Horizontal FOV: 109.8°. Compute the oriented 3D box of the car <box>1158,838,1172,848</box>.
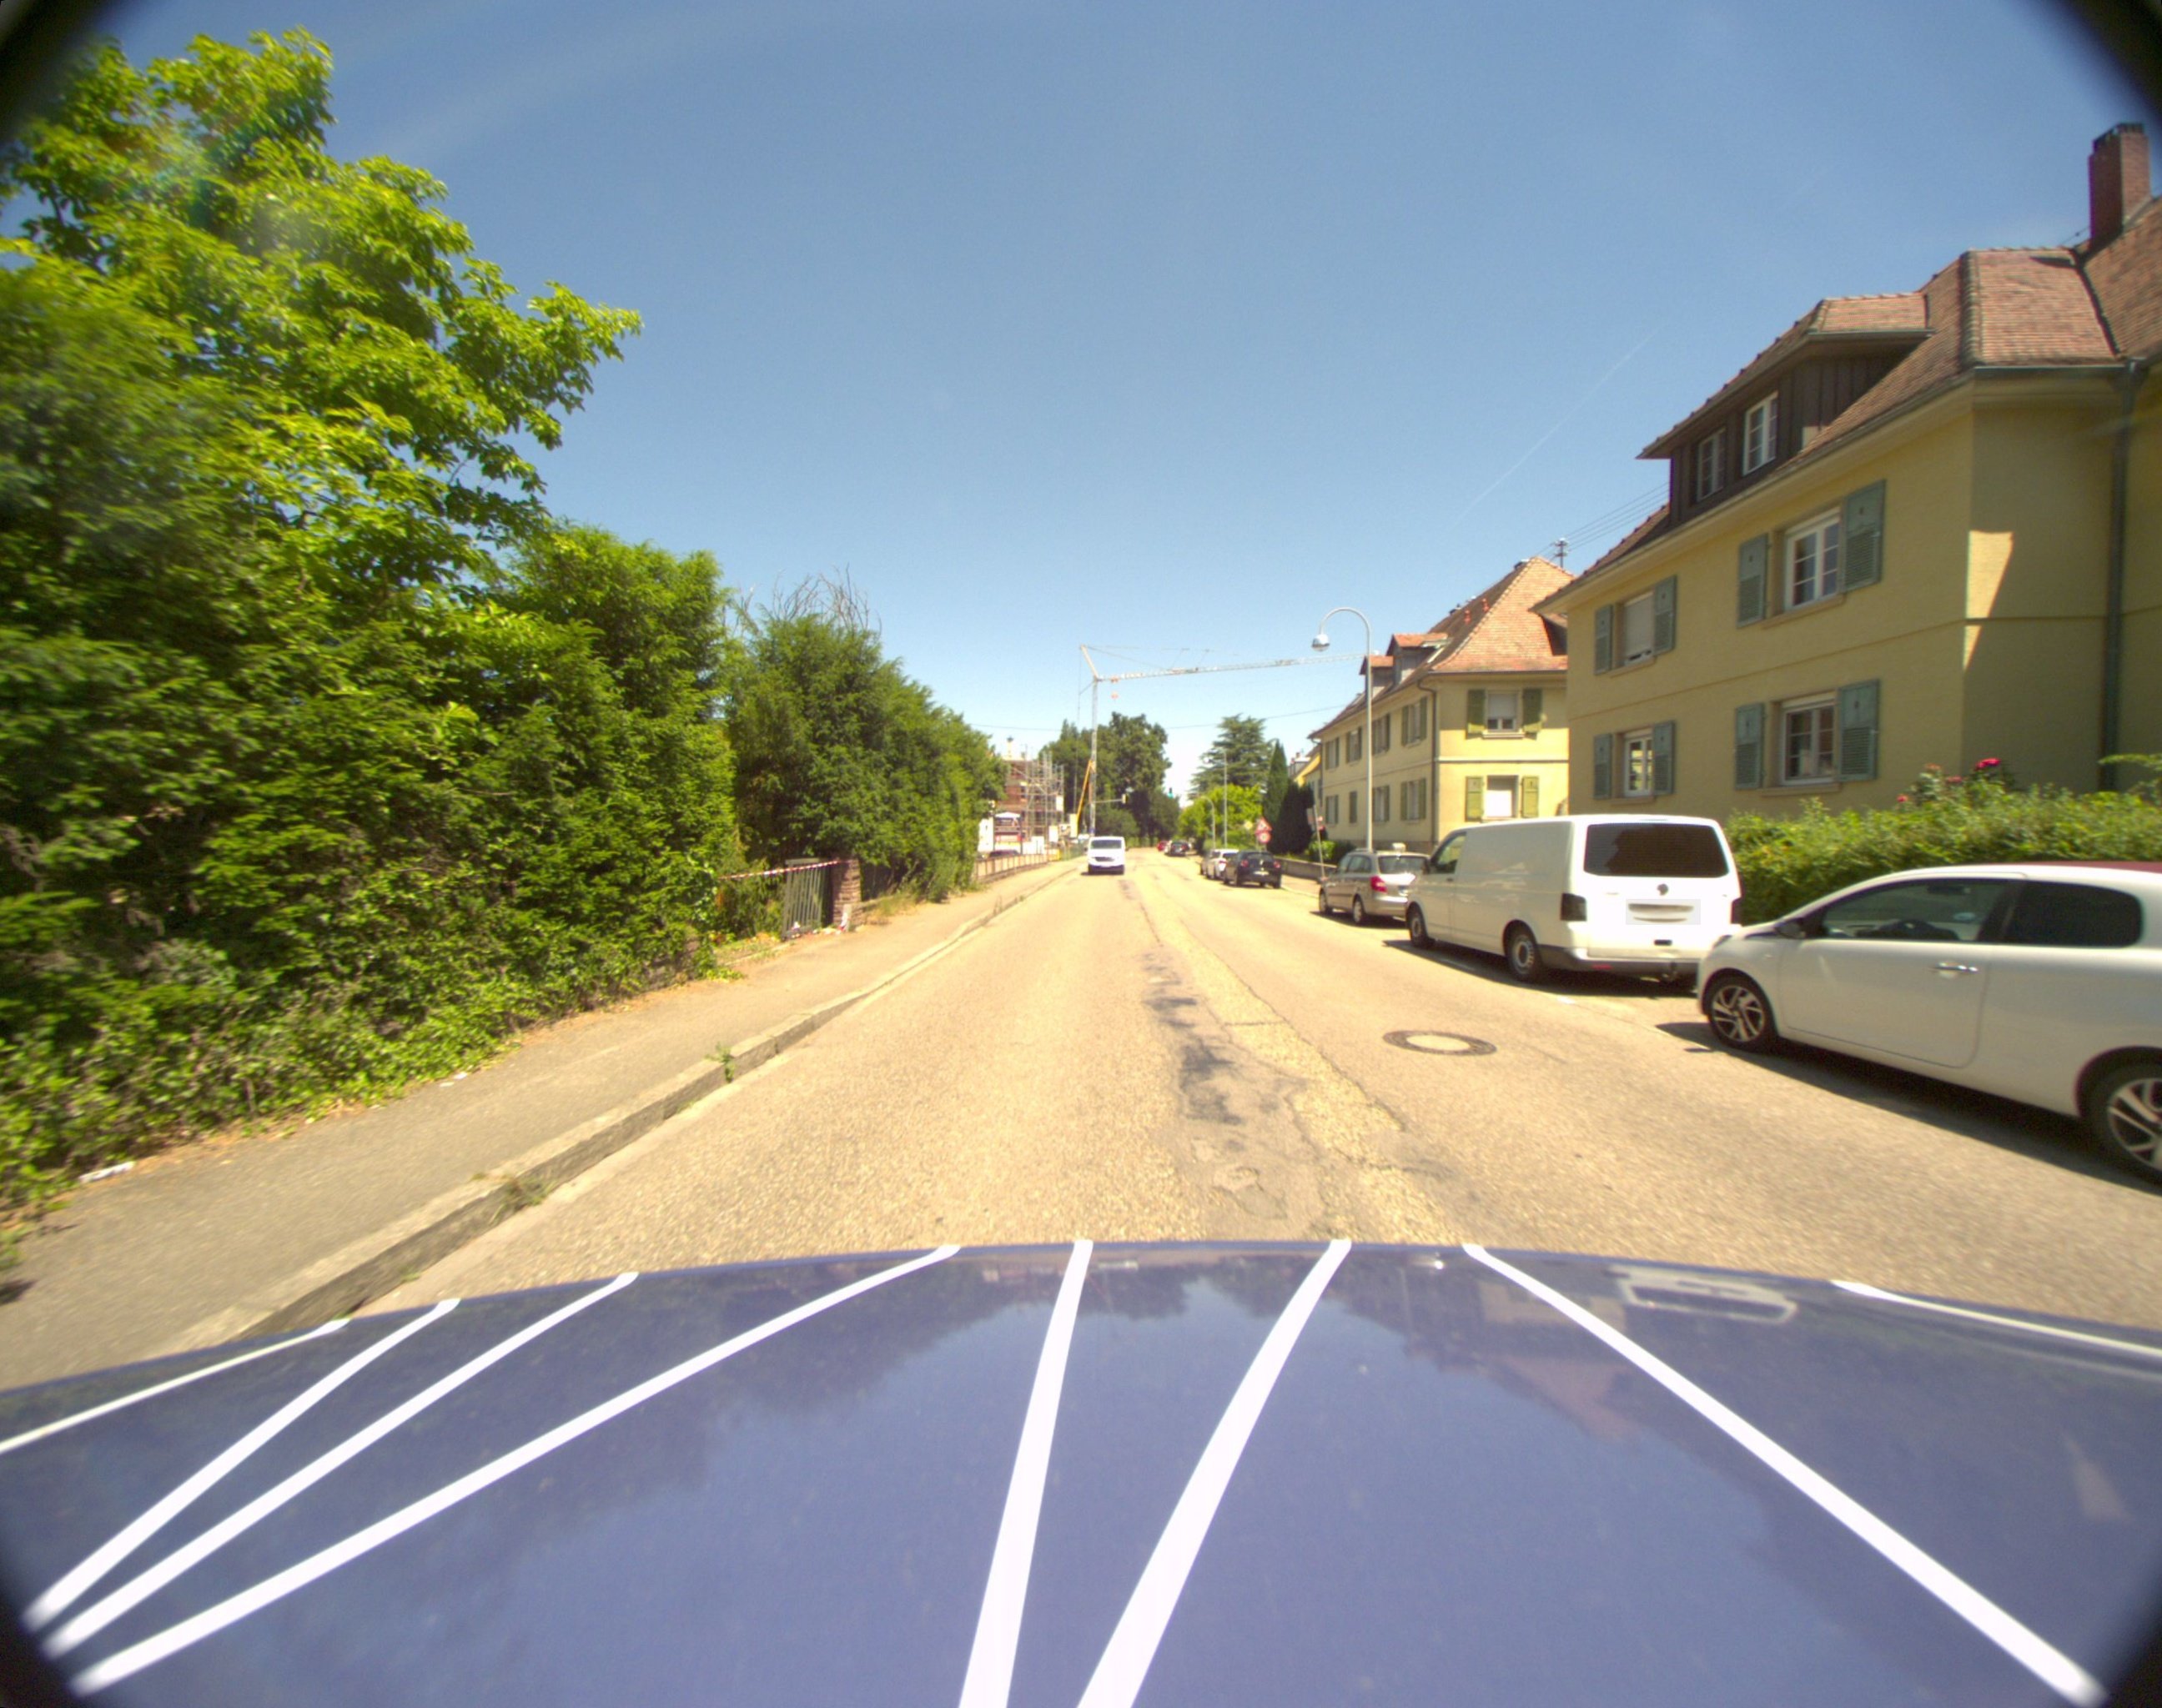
[{"bbox_3d":[12.831,-1.667,116.208,1.818,1.557,3.696,1,2,3],"label":"car"}]

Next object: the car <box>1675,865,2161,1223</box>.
[{"bbox_3d":[5.642,0.874,4.439,1.670,1.484,3.478,1,1,2],"label":"car"}]

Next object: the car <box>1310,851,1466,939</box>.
[{"bbox_3d":[6.247,0.747,15.983,1.690,1.516,4.062,2,1,2],"label":"car"}]

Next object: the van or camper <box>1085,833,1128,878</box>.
[{"bbox_3d":[1.408,0.006,40.398,1.998,1.968,5.360,-3,3,3],"label":"van or camper"}]

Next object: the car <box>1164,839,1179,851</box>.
[{"bbox_3d":[11.290,-1.138,94.362,1.684,1.433,4.249,2,2,9],"label":"car"}]

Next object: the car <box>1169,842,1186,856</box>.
[{"bbox_3d":[10.632,-0.541,83.945,1.684,1.404,3.927,2,2,5],"label":"car"}]

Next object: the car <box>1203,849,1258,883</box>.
[{"bbox_3d":[6.897,0.504,35.431,1.799,1.394,4.218,1,2,2],"label":"car"}]

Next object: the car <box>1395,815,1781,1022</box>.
[{"bbox_3d":[5.873,0.585,9.702,1.882,1.952,4.625,2,1,2],"label":"car"}]

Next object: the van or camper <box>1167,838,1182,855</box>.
[{"bbox_3d":[10.871,-0.917,88.470,1.684,1.794,3.986,2,2,7],"label":"van or camper"}]

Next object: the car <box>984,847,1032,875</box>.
[{"bbox_3d":[-4.165,0.367,43.919,1.714,1.515,3.842,0,2,11],"label":"car"}]

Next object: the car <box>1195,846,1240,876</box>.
[{"bbox_3d":[7.271,0.315,40.725,1.763,1.439,3.923,1,2,2],"label":"car"}]

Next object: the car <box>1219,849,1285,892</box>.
[{"bbox_3d":[6.730,0.582,30.273,1.720,1.477,4.075,1,2,1],"label":"car"}]
